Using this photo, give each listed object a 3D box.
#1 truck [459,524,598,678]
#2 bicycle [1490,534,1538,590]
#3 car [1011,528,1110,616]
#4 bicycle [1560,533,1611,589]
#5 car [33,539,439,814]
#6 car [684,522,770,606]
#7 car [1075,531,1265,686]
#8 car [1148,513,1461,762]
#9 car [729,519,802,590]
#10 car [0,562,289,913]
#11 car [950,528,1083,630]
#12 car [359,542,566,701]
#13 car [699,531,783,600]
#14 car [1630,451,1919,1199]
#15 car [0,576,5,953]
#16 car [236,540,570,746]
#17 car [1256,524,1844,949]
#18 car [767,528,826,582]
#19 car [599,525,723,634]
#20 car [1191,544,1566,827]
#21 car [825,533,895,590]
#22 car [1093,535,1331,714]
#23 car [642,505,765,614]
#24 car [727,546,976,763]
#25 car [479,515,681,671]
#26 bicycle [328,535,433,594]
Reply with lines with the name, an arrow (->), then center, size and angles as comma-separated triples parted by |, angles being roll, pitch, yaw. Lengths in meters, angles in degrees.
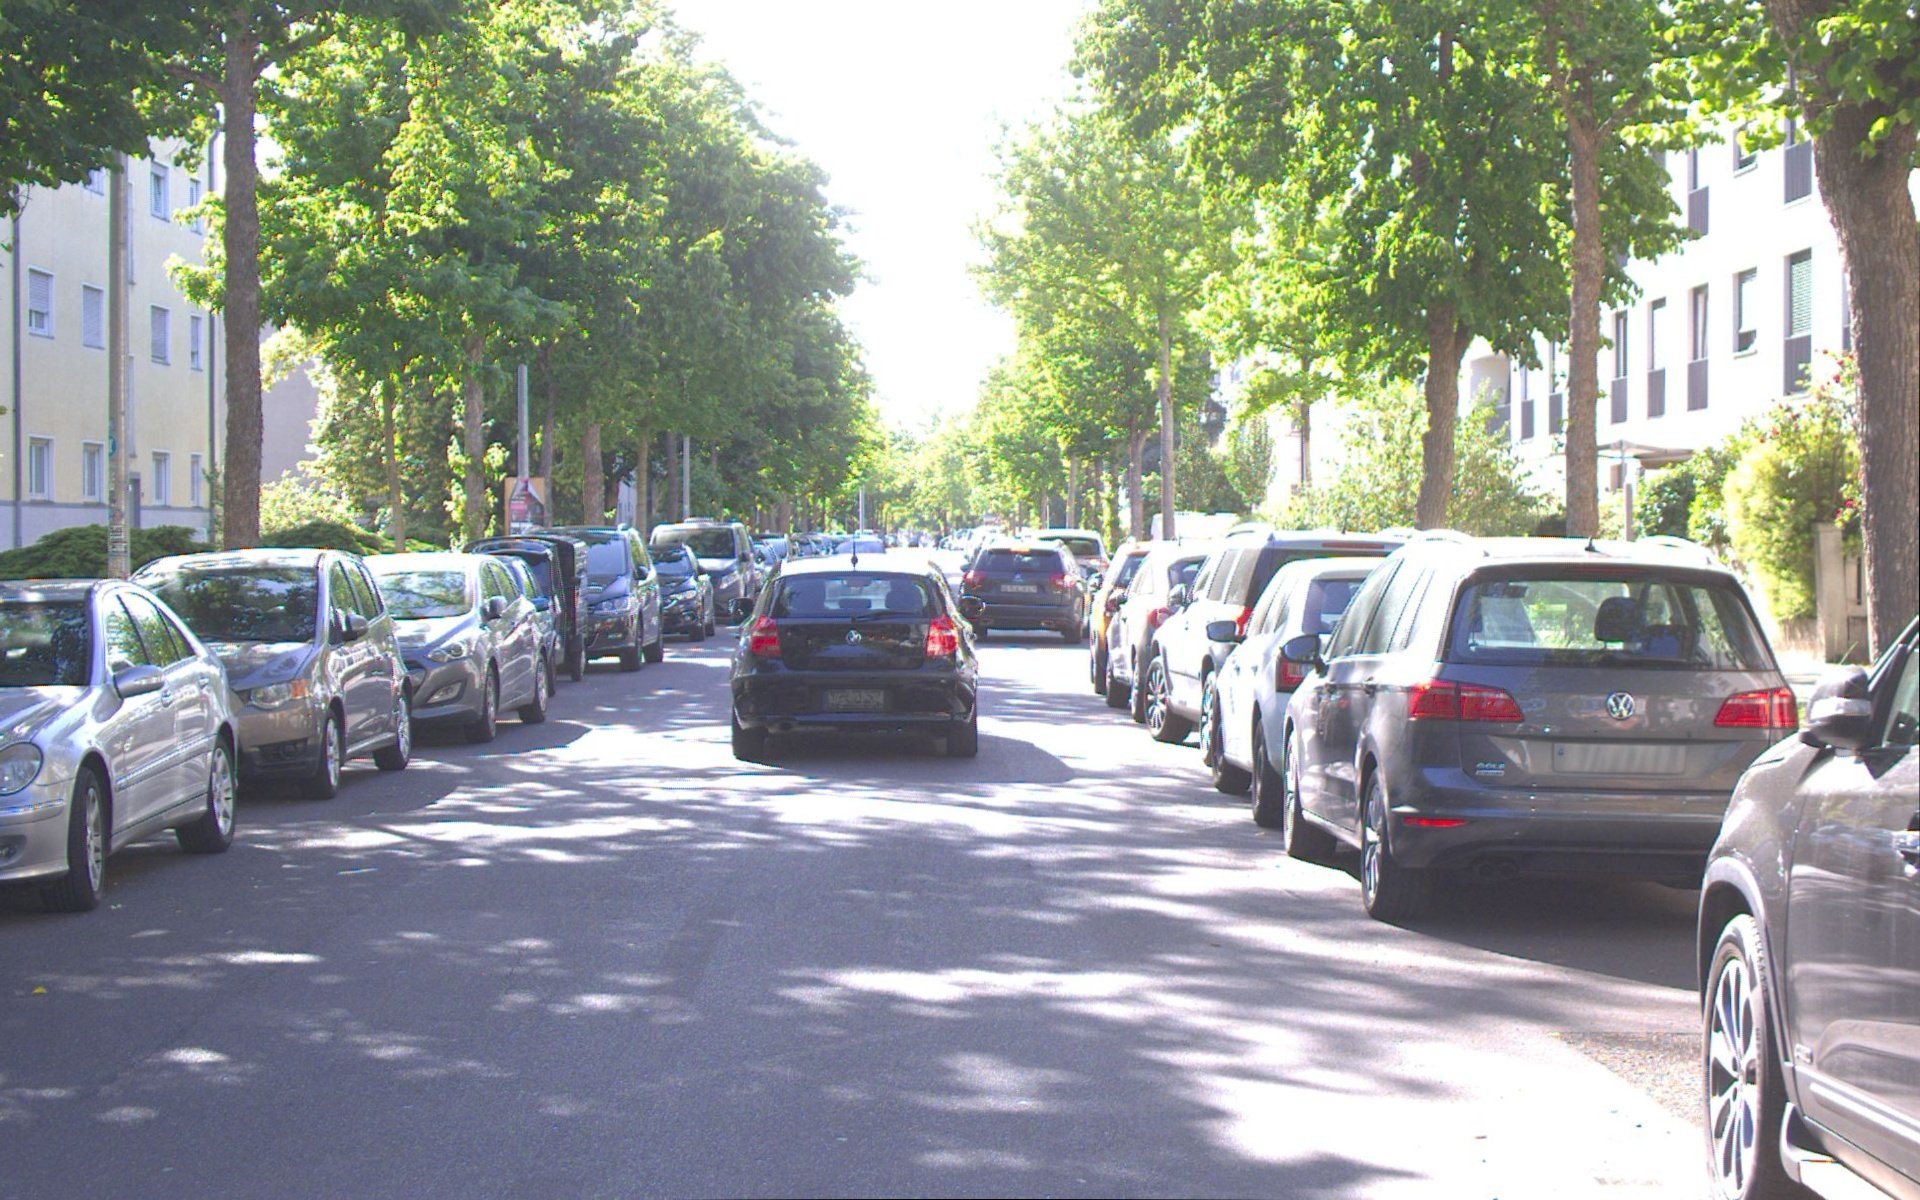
truck -> -4.585, -0.016, 36.704 | 1.084, 1.572, 2.432 | -1, 1, 2
bicycle -> 10.542, -0.732, 65.456 | 0.546, 1.051, 1.692 | -1, 1, -3
car -> 1.934, -0.552, 66.700 | 1.848, 1.625, 4.410 | 1, 1, 1
bicycle -> 11.905, -0.747, 65.496 | 0.546, 1.051, 1.780 | -1, 1, -3
car -> -4.553, 0.411, 22.223 | 1.620, 1.510, 4.269 | -3, 1, 1
car -> -4.678, -0.749, 69.425 | 1.612, 1.606, 4.230 | -1, 1, -3
car -> 2.077, 0.040, 34.933 | 1.636, 1.450, 4.100 | -1, 1, -1
car -> 2.395, 0.205, 24.751 | 1.648, 1.650, 3.848 | 0, 1, -3
car -> -4.793, -1.152, 85.265 | 1.612, 1.673, 4.234 | -1, 1, -1
car -> -4.517, 0.549, 16.286 | 1.745, 1.364, 4.674 | -1, 1, 0
car -> 0.798, -0.341, 50.821 | 1.649, 1.420, 4.002 | -1, 1, -3
car -> -4.669, 0.160, 32.681 | 1.520, 1.390, 3.727 | -1, 1, -2
car -> -4.742, -0.766, 74.735 | 1.612, 1.422, 4.058 | -1, 1, -1
car -> 2.564, 0.569, 6.252 | 1.780, 1.692, 4.298 | -1, 1, -1
car -> -4.386, 0.635, 10.809 | 1.665, 1.453, 3.933 | 0, 1, 0
car -> -4.397, 0.276, 27.837 | 1.792, 1.439, 4.688 | -2, 1, 1
car -> 2.471, 0.478, 15.514 | 1.684, 1.582, 4.536 | 2, 1, -2
car -> -4.867, -1.366, 102.492 | 1.612, 1.537, 3.866 | -1, 1, -1
car -> -4.586, -0.352, 53.290 | 1.507, 1.543, 4.779 | -3, 1, -1
car -> 2.330, 0.409, 20.110 | 1.629, 1.420, 4.368 | -1, 1, 0
car -> -2.519, -0.992, 87.337 | 1.505, 1.421, 3.177 | 0, 1, 3
car -> 2.128, 0.165, 29.872 | 1.649, 1.423, 3.613 | -1, 1, -2
car -> -4.721, -0.780, 63.903 | 1.826, 1.898, 5.142 | -2, 1, 0
car -> -0.749, 0.339, 24.725 | 1.649, 1.392, 3.412 | -1, 1, -1
car -> -4.497, -0.141, 41.334 | 1.849, 1.675, 4.977 | -3, 1, -1
bicycle -> -12.202, -0.755, 72.375 | 2.144, 1.204, 0.690 | -1, 1, -11
